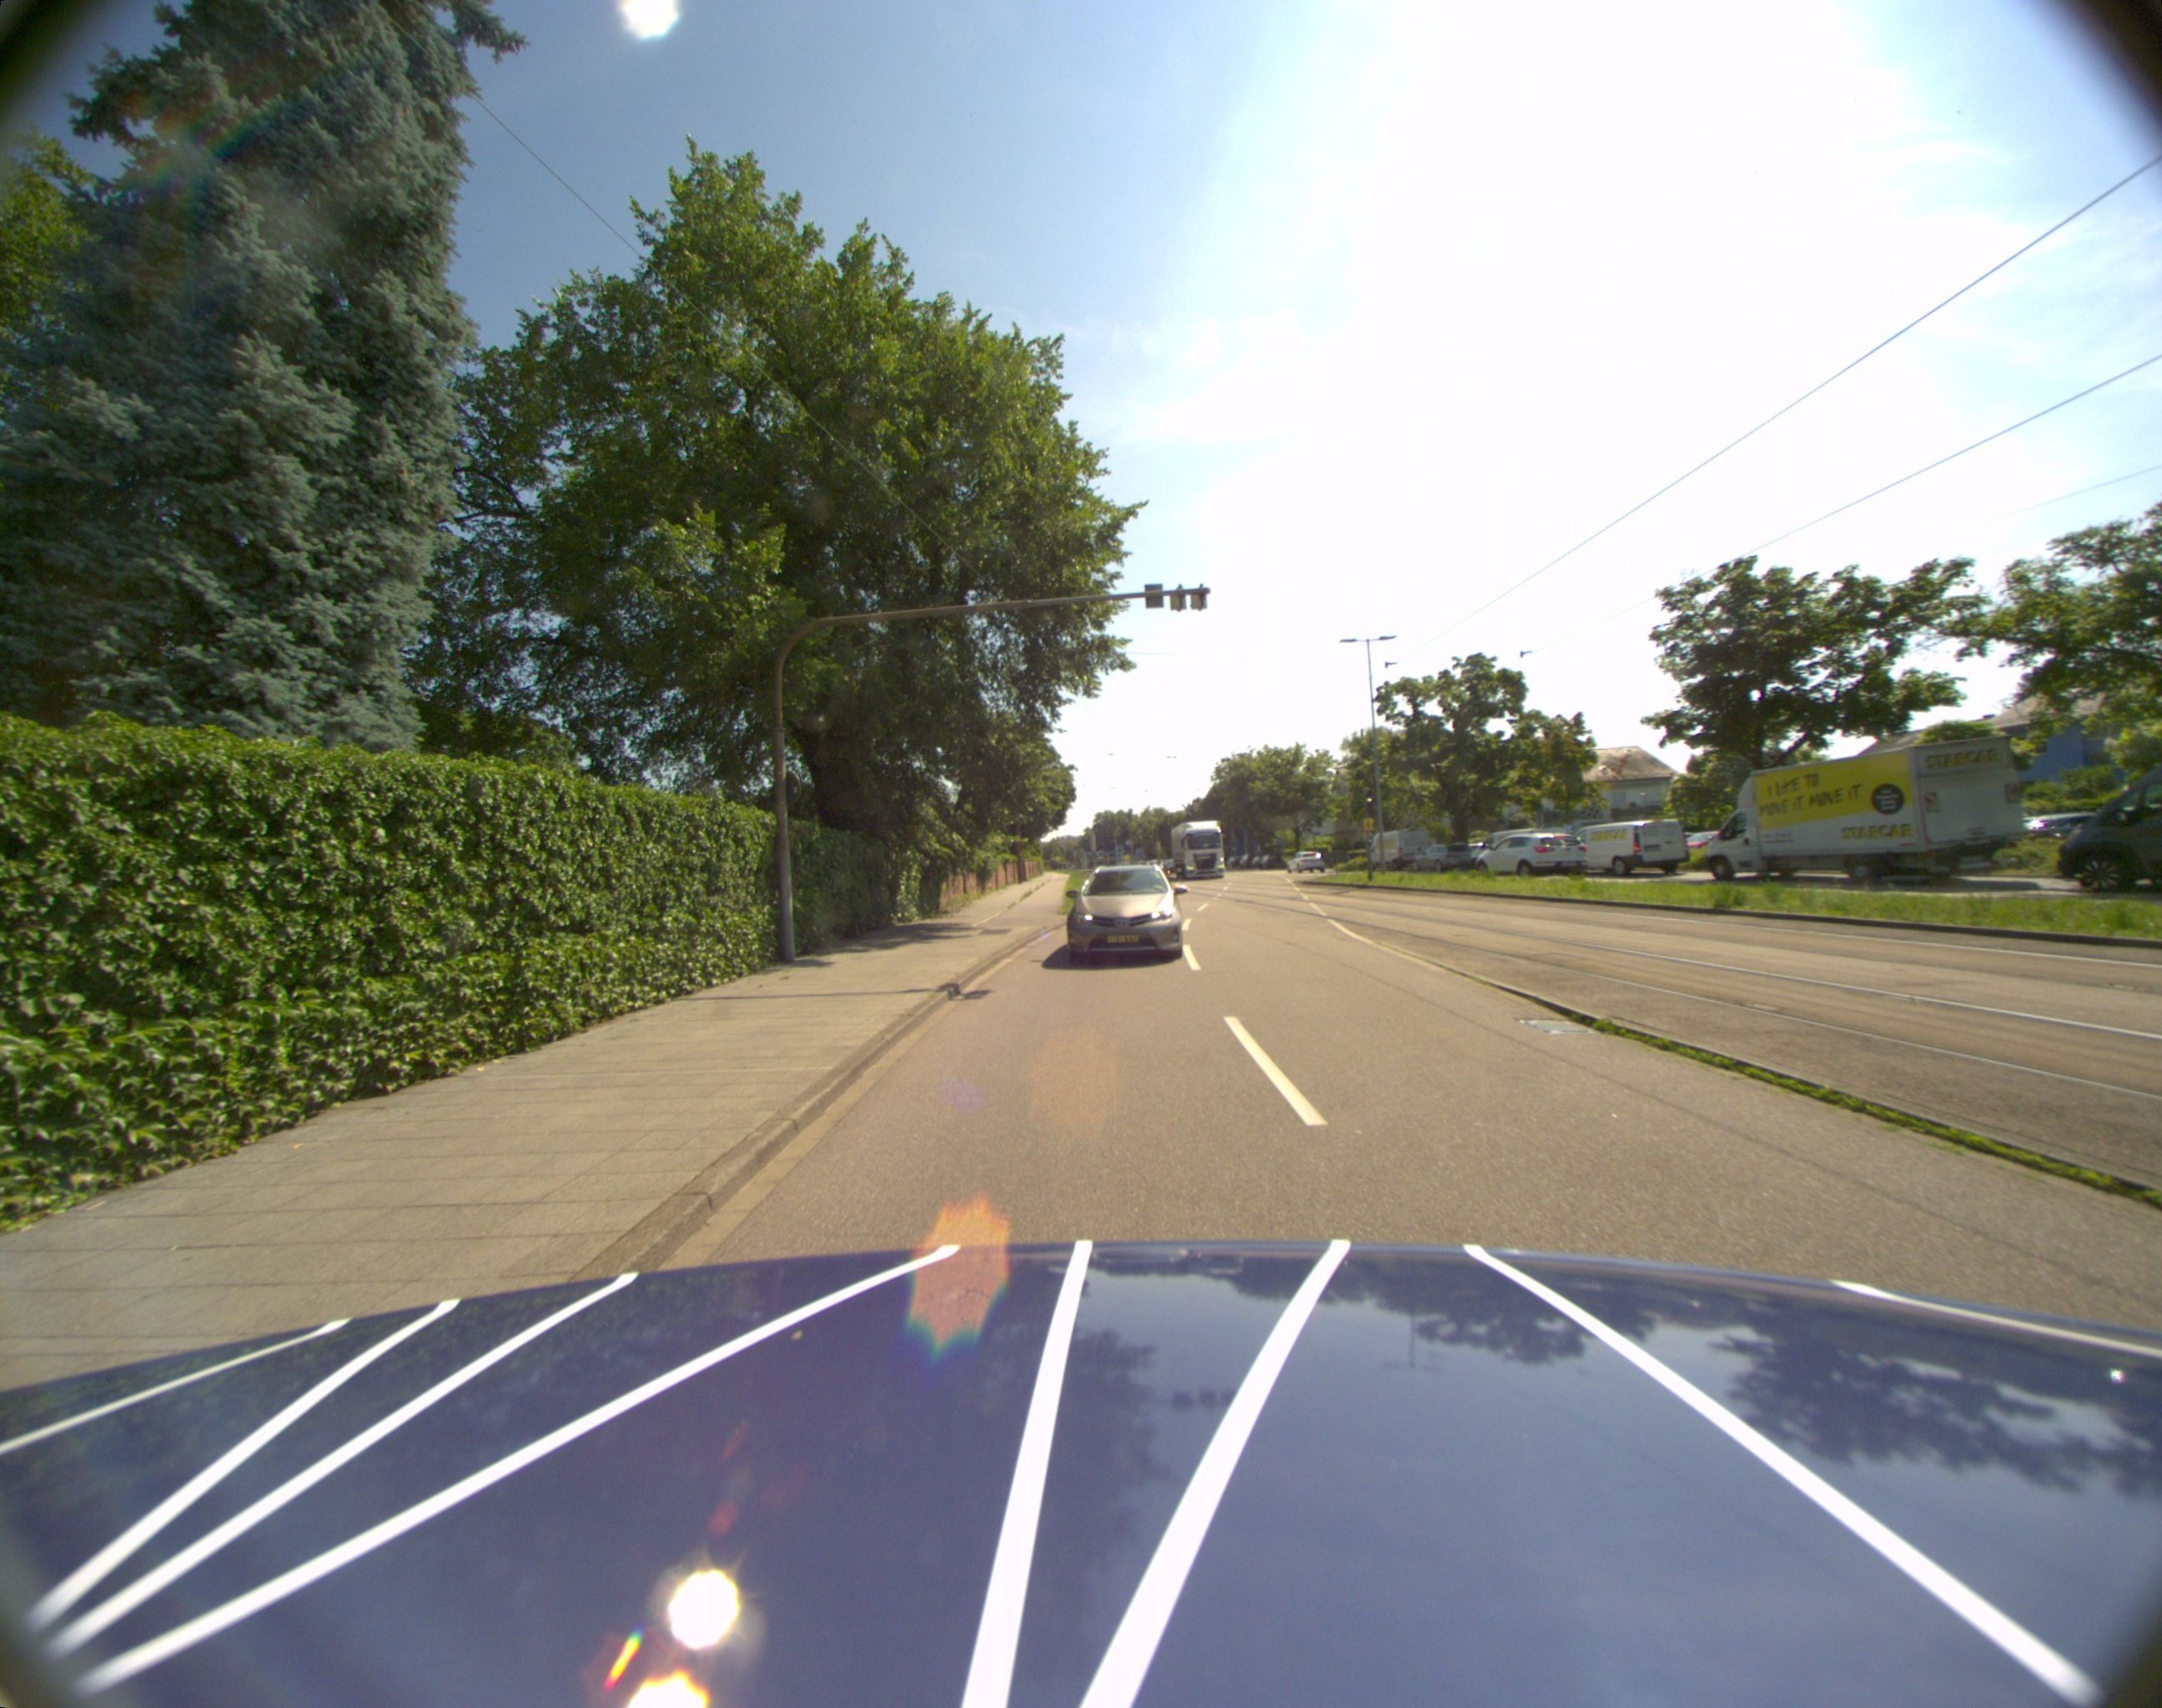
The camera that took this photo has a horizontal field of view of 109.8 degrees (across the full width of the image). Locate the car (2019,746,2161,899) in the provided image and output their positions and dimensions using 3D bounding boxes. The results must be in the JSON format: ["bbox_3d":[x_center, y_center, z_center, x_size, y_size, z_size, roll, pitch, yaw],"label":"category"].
[{"bbox_3d":[19.818,-0.644,12.024,2.201,2.653,6.079,-5,0,-1],"label":"car"}]

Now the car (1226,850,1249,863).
[{"bbox_3d":[19.462,0.319,94.790,1.679,1.427,4.457,-3,0,-2],"label":"car"}]

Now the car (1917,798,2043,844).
[{"bbox_3d":[42.697,-1.537,36.137,3.998,1.879,1.785,-3,0,-4],"label":"car"}]

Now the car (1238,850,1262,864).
[{"bbox_3d":[19.575,0.333,88.046,1.679,1.603,4.241,-3,0,-2],"label":"car"}]

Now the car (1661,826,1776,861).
[{"bbox_3d":[30.479,-0.480,36.399,3.997,1.401,1.732,-3,0,-1],"label":"car"}]

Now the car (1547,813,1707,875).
[{"bbox_3d":[20.246,-0.334,28.537,2.201,1.929,5.185,-5,0,1],"label":"car"}]

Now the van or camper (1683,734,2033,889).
[{"bbox_3d":[19.817,-0.921,20.148,2.201,3.222,6.772,-5,0,1],"label":"van or camper"}]

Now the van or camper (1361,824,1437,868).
[{"bbox_3d":[19.981,-0.464,48.102,2.263,2.500,6.148,-3,0,1],"label":"van or camper"}]

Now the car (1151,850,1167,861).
[{"bbox_3d":[14.400,0.293,140.735,1.999,1.805,3.998,-3,0,-6],"label":"car"}]

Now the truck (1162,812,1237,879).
[{"bbox_3d":[8.486,-0.580,56.545,3.391,4.045,14.287,-5,0,2],"label":"truck"}]

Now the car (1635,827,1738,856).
[{"bbox_3d":[30.976,-0.638,38.906,3.926,1.263,1.663,-3,0,-1],"label":"car"}]

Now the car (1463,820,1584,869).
[{"bbox_3d":[20.337,-0.389,35.272,2.202,1.929,5.183,-5,0,-4],"label":"car"}]

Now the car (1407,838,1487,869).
[{"bbox_3d":[19.837,-0.012,41.441,1.937,1.446,4.885,-4,0,0],"label":"car"}]

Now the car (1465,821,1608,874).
[{"bbox_3d":[15.367,-0.194,25.991,2.048,1.588,4.660,-2,0,0],"label":"car"}]

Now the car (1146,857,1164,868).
[{"bbox_3d":[8.905,0.982,91.829,1.700,1.248,4.000,-3,0,0],"label":"car"}]

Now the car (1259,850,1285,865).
[{"bbox_3d":[19.485,0.360,77.546,1.619,1.442,4.083,-3,0,1],"label":"car"}]

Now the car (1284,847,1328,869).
[{"bbox_3d":[15.459,0.264,52.353,1.796,1.414,4.336,-3,0,2],"label":"car"}]

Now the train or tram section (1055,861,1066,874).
[{"bbox_3d":[-6.219,4.092,234.419,2.677,3.631,15.304,-5,0,0],"label":"train or tram section"}]

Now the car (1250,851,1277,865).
[{"bbox_3d":[19.729,0.482,82.417,1.701,1.387,4.581,-3,0,0],"label":"car"}]

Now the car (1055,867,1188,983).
[{"bbox_3d":[0.698,0.977,12.031,1.719,1.439,4.032,-1,0,5],"label":"car"}]

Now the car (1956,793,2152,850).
[{"bbox_3d":[30.386,-0.987,23.805,3.997,1.535,1.663,-3,0,-1],"label":"car"}]

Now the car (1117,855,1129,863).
[{"bbox_3d":[10.075,1.114,182.565,1.999,1.783,3.998,-3,0,-6],"label":"car"}]
